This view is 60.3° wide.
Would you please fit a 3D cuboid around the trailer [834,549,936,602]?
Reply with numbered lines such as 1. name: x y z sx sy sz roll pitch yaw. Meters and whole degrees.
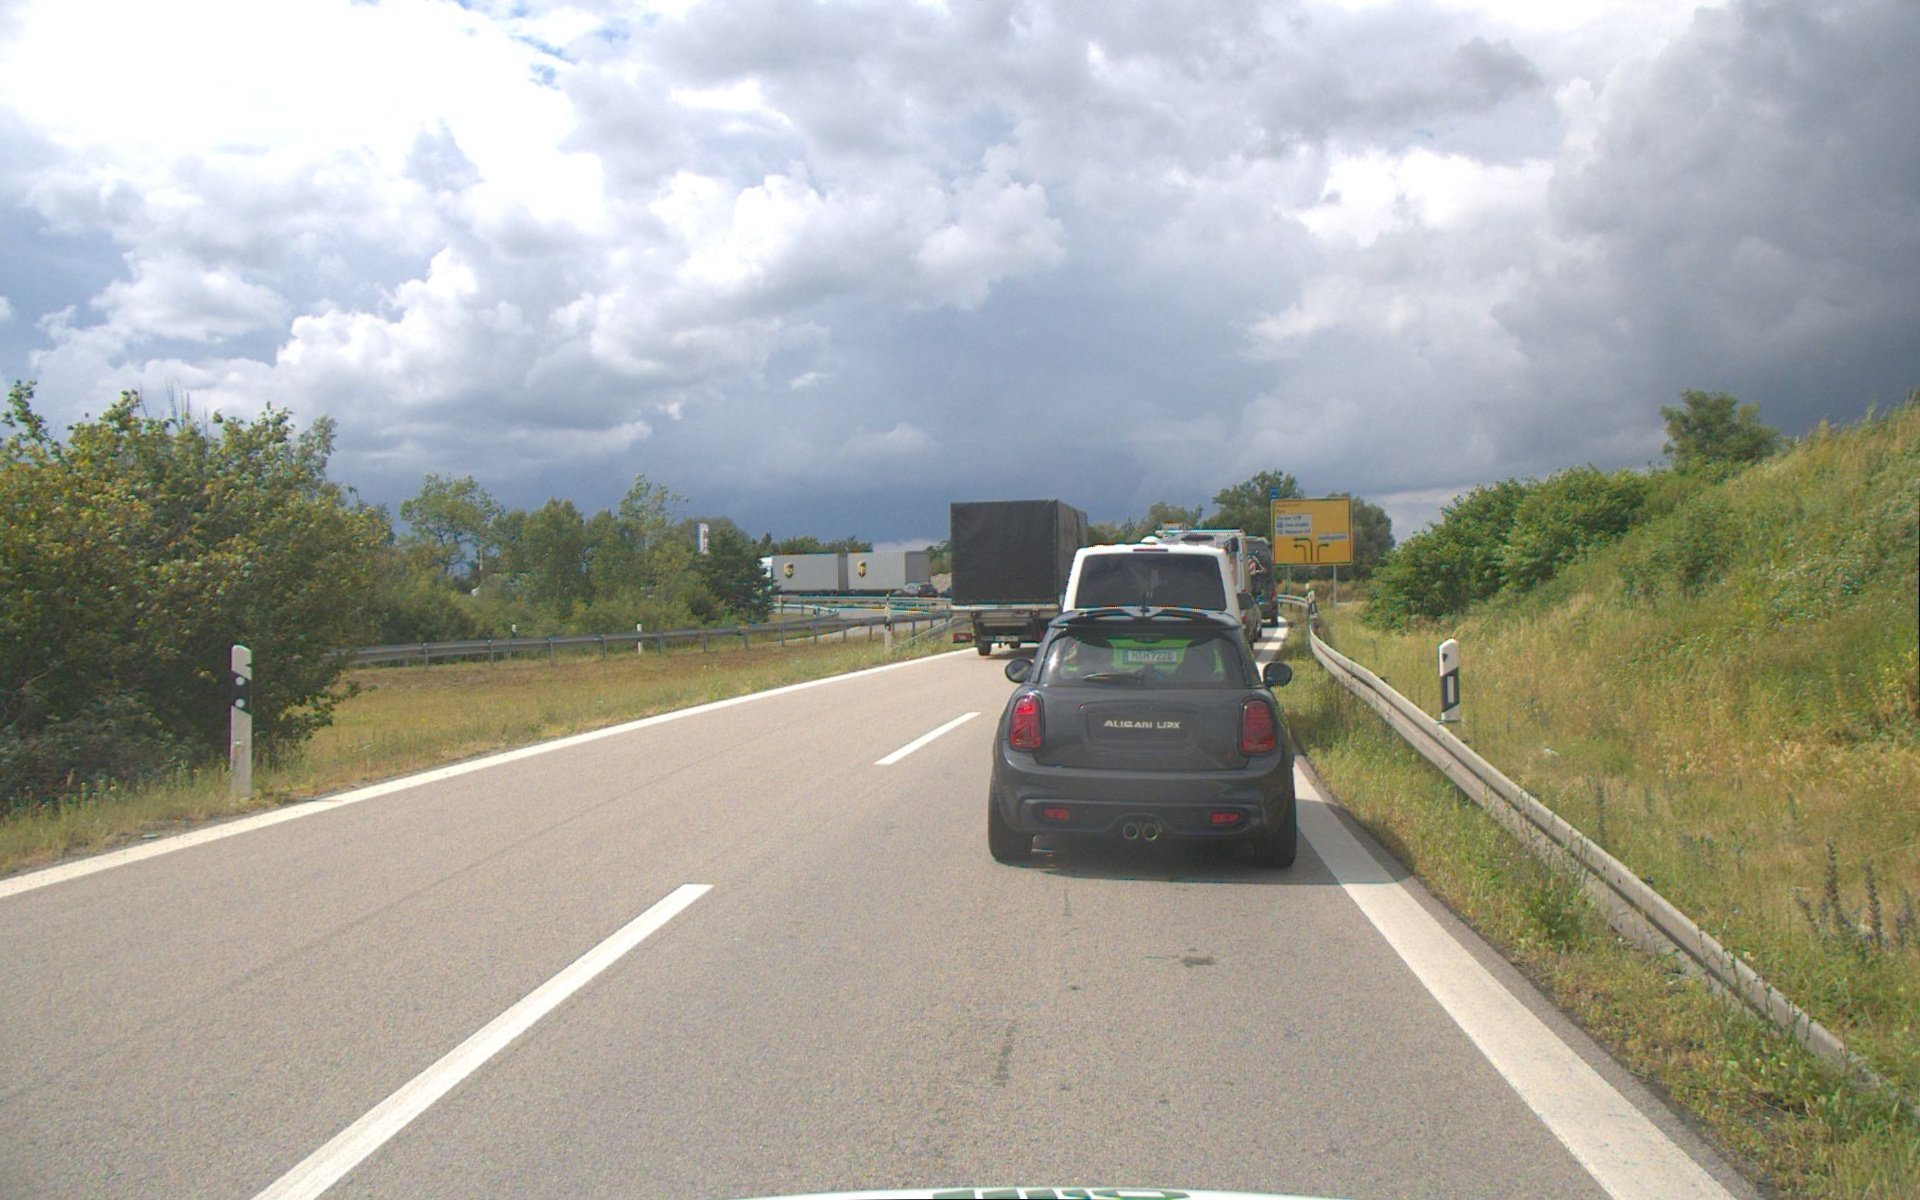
1. trailer: -5.938 -1.867 129.743 3.022 3.966 8.631 2 -1 -44

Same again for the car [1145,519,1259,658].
1. car: 5.178 -0.205 34.922 2.164 2.668 5.539 1 -1 10

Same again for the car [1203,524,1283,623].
1. car: 9.636 -0.817 55.899 2.261 3.122 6.667 1 -1 13

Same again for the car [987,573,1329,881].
1. car: 1.231 0.648 10.484 1.761 1.573 3.741 0 0 6

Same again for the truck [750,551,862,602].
1. truck: -12.719 -1.892 135.897 9.835 4.046 2.833 0 -1 38

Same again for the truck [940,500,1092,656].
1. truck: 1.456 -0.427 38.127 2.505 3.223 7.474 1 -1 10

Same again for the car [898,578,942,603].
1. car: -2.931 -0.661 121.817 1.790 1.786 3.967 1 -1 -25

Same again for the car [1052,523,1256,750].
1. car: 2.084 0.339 17.371 1.870 2.081 4.184 0 0 8

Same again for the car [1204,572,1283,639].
1. car: 7.522 0.157 43.862 1.951 1.671 3.932 1 -1 10
